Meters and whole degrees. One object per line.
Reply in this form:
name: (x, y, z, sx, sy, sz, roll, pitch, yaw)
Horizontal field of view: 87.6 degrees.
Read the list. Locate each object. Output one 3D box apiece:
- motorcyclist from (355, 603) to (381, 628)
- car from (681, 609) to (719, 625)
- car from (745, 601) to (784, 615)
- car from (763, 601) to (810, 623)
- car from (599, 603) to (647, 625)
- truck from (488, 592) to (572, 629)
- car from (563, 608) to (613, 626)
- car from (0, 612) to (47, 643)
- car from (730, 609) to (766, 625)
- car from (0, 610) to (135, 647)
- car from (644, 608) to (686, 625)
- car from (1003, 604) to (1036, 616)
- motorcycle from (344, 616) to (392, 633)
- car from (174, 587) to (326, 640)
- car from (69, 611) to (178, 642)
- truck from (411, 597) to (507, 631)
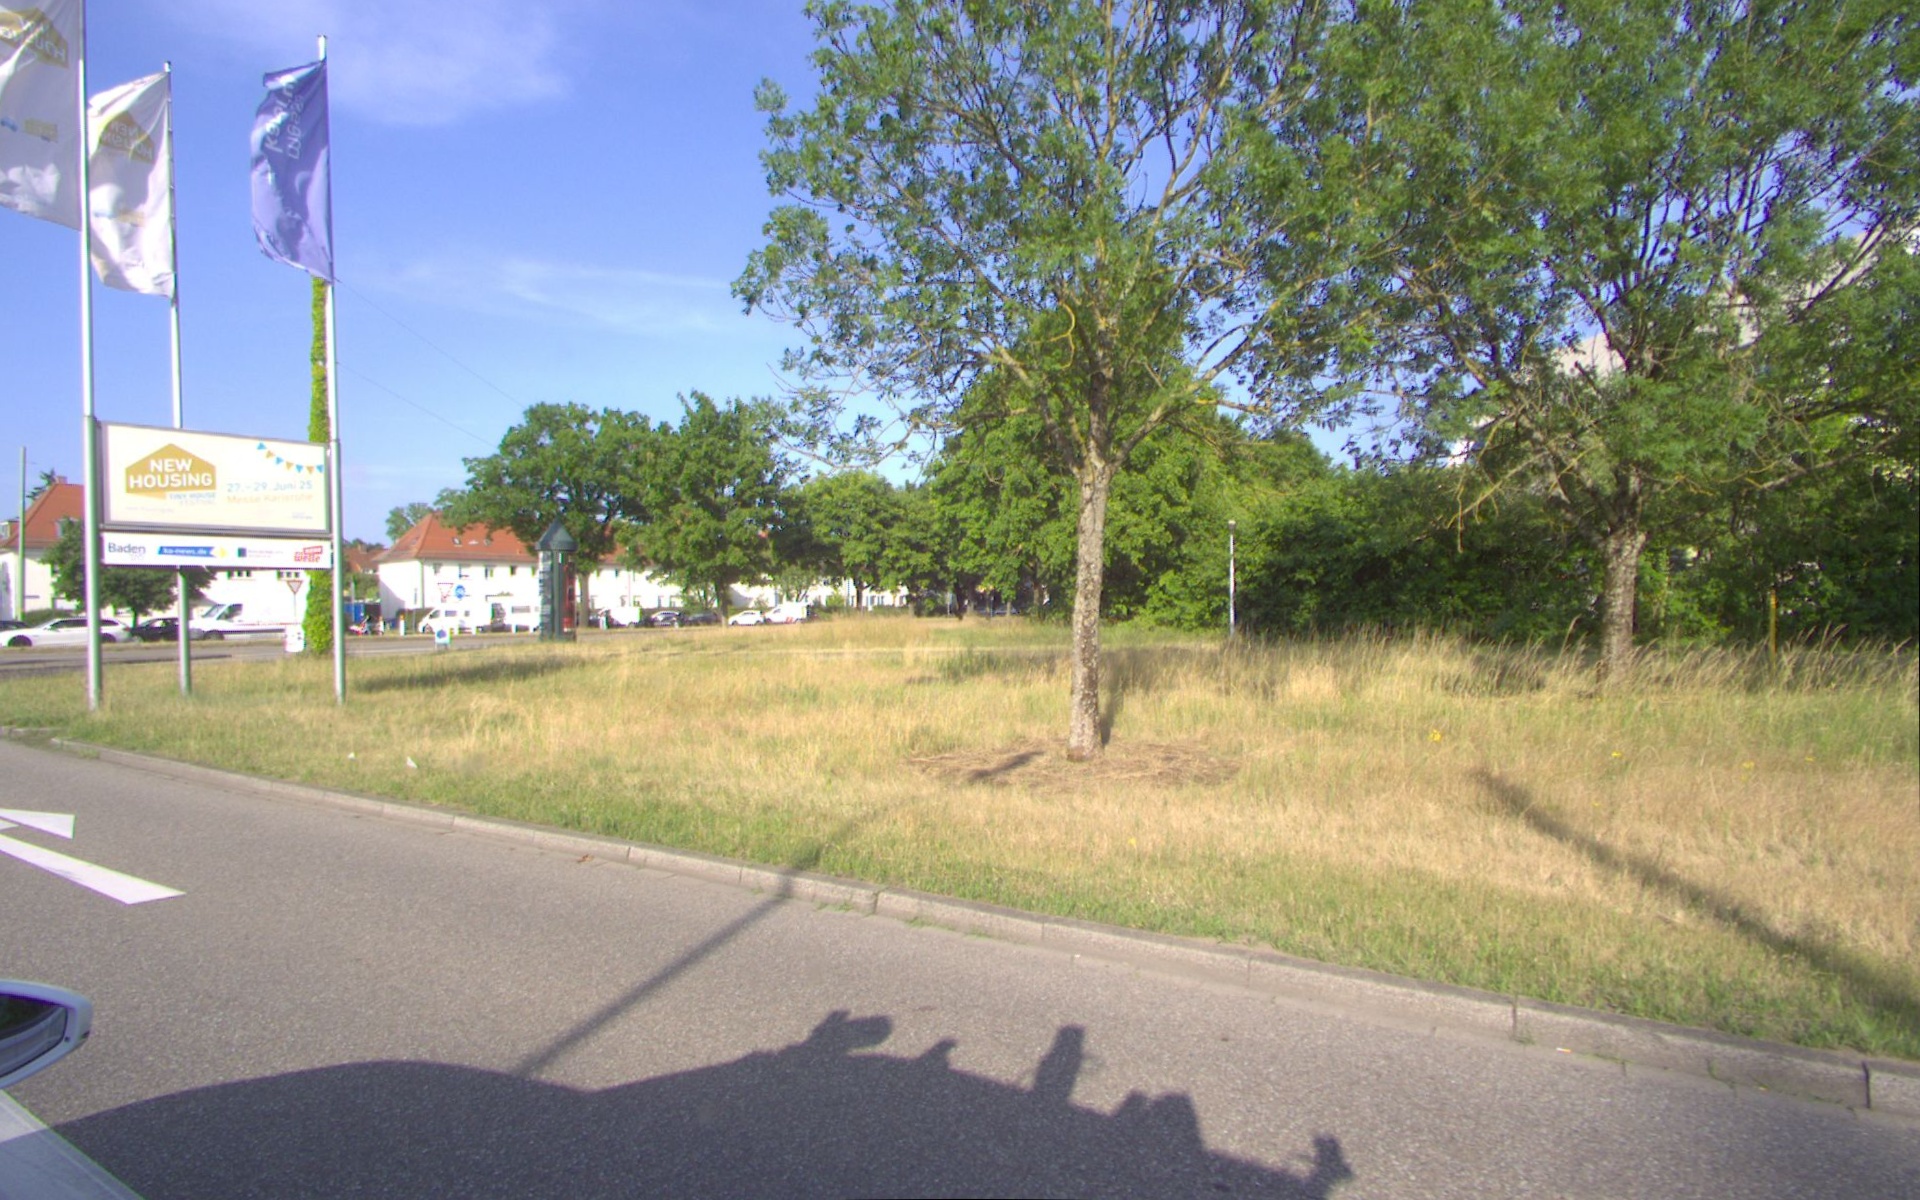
motorcyclist: (-33.203, 0.850, 56.199, 0.671, 1.370, 1.062, 0, 0, 35)
car: (-25.459, 1.671, 98.213, 3.367, 1.534, 1.895, -1, 0, -6)
car: (-24.243, 1.020, 124.201, 4.914, 1.742, 1.987, -1, 0, 36)
car: (-18.339, 1.253, 106.000, 4.885, 2.261, 1.999, -1, 0, -10)
car: (-30.292, 1.264, 90.047, 3.835, 1.945, 1.895, -1, 0, -10)
truck: (-35.132, 0.867, 81.881, 5.964, 2.892, 1.894, -1, 0, -10)
car: (-32.432, 1.466, 87.363, 3.837, 1.475, 1.894, -1, 0, -13)
car: (-45.659, 1.286, 46.335, 1.694, 1.430, 4.807, 0, 0, 37)
car: (-21.328, 1.666, 101.011, 3.367, 1.534, 1.895, -1, 0, -6)
car: (-41.437, 1.295, 46.092, 1.816, 1.583, 5.077, 0, 0, 37)
car: (-27.296, 1.514, 92.760, 3.432, 1.534, 1.895, -1, 0, -6)
car: (8.673, 1.442, 145.142, 4.454, 1.746, 1.999, 0, 0, -7)
motorcycle: (-33.201, 1.372, 56.210, 0.681, 0.878, 2.264, 0, 0, 35)
car: (-36.957, 0.699, 52.359, 1.974, 2.617, 6.188, 0, 0, 36)
car: (-42.333, 1.292, 50.742, 1.694, 1.472, 3.973, 0, 0, 37)
truck: (-38.307, 1.052, 76.736, 6.233, 2.557, 2.277, 0, 0, 1)
